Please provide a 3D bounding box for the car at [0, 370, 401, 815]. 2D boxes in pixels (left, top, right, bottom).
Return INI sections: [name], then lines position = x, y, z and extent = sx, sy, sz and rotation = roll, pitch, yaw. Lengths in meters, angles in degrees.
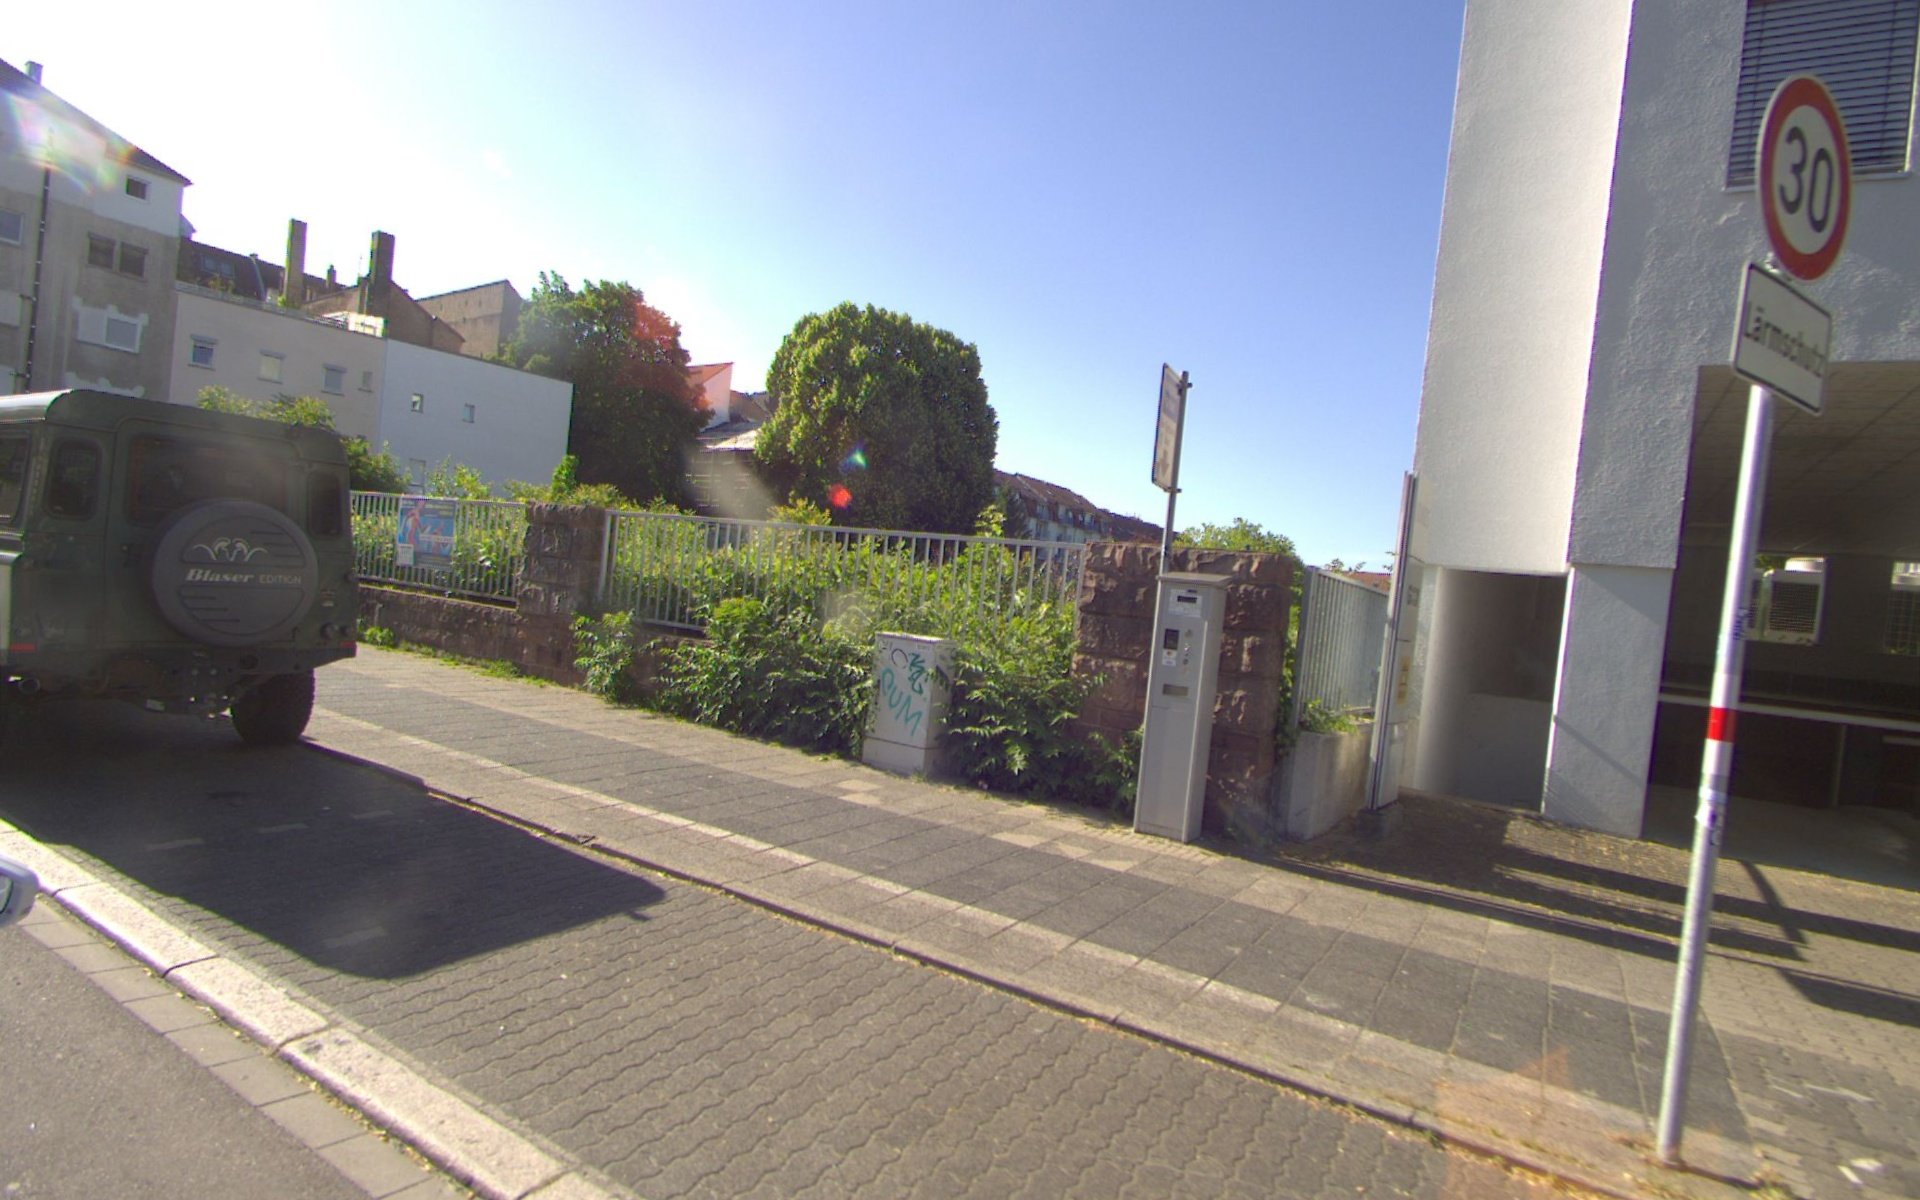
[car]
position = -5.822, -0.196, 6.536
extent = 4.697, 2.040, 1.661
rotation = 6, 1, 32
